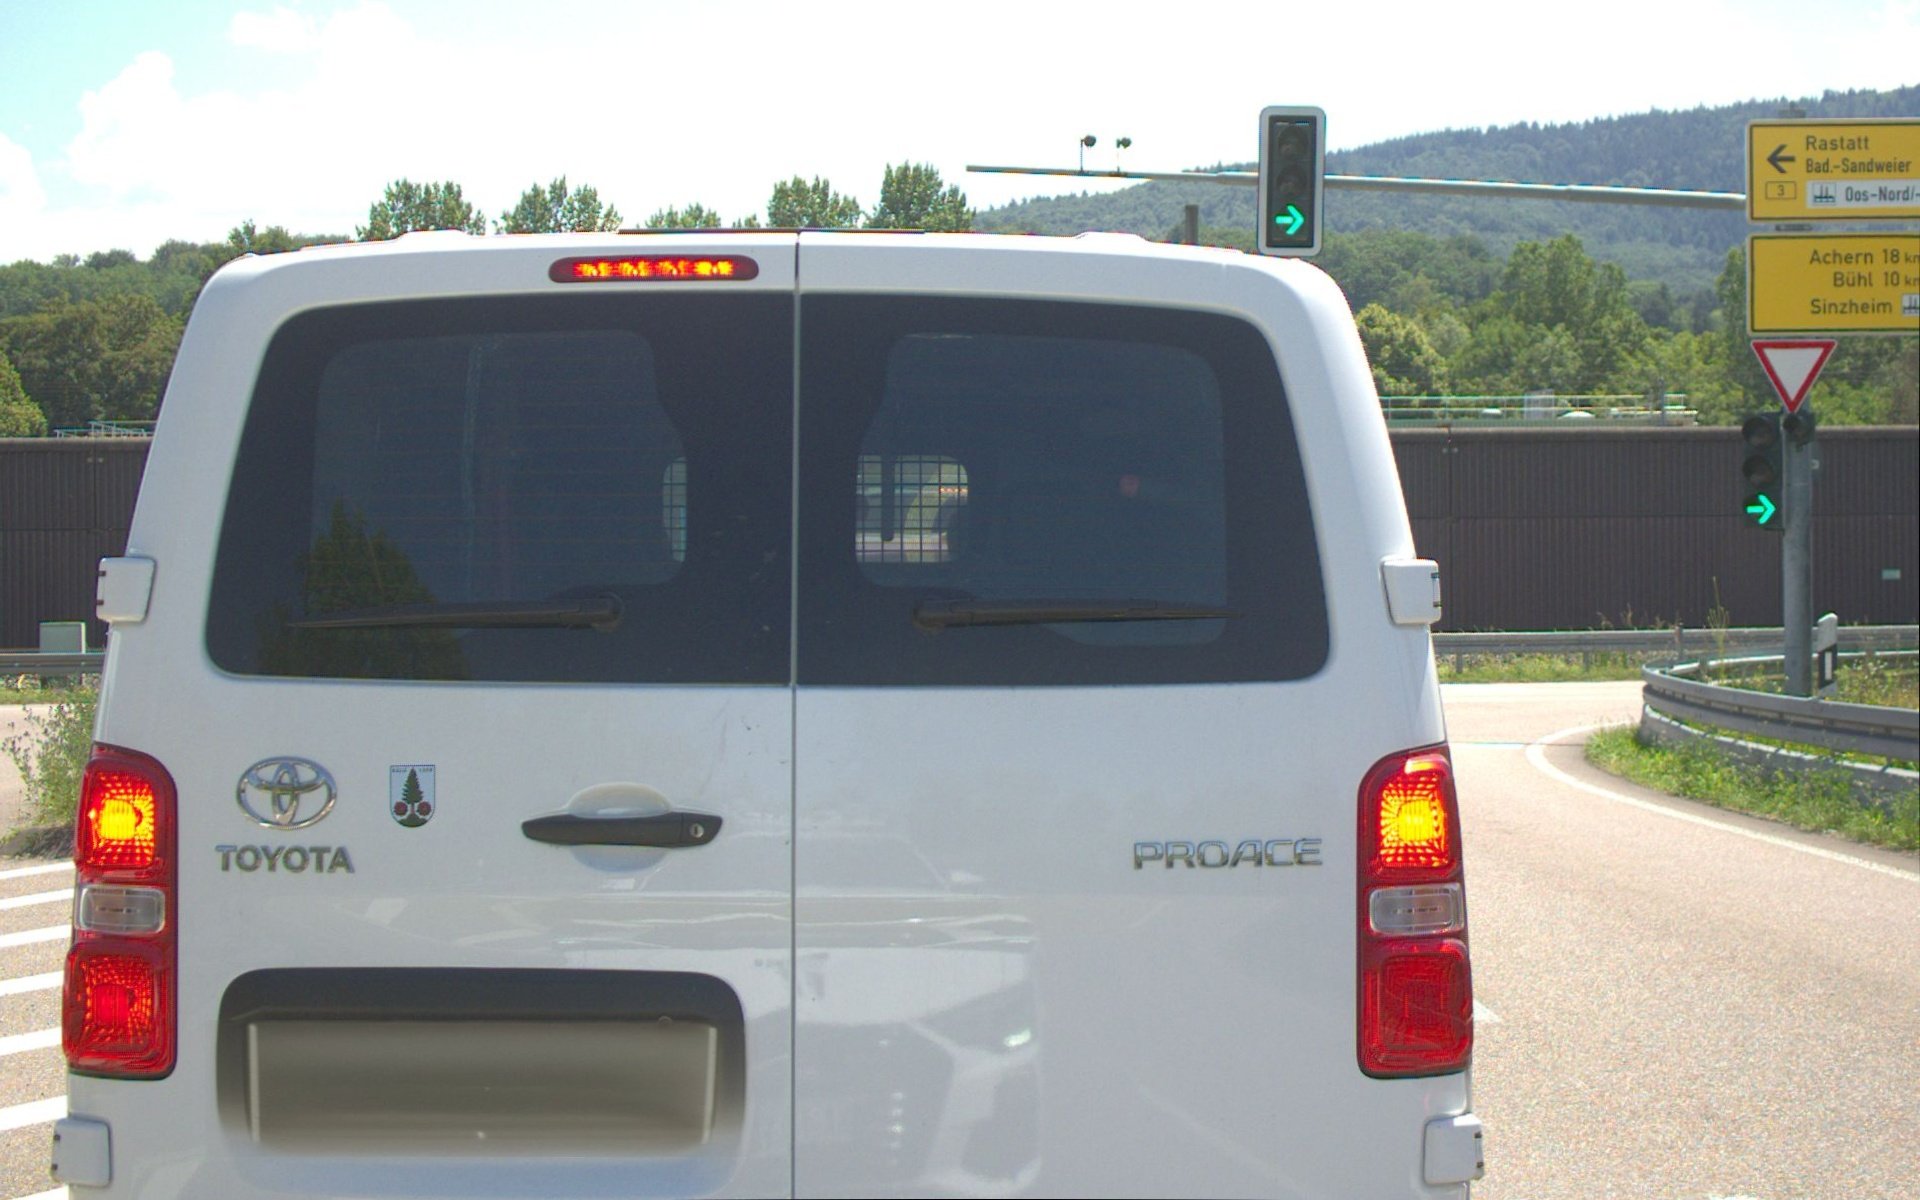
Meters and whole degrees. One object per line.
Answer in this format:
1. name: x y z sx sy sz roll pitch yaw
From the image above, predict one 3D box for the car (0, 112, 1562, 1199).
1. car: -0.247 0.432 5.925 1.814 2.011 4.000 0 1 -1
